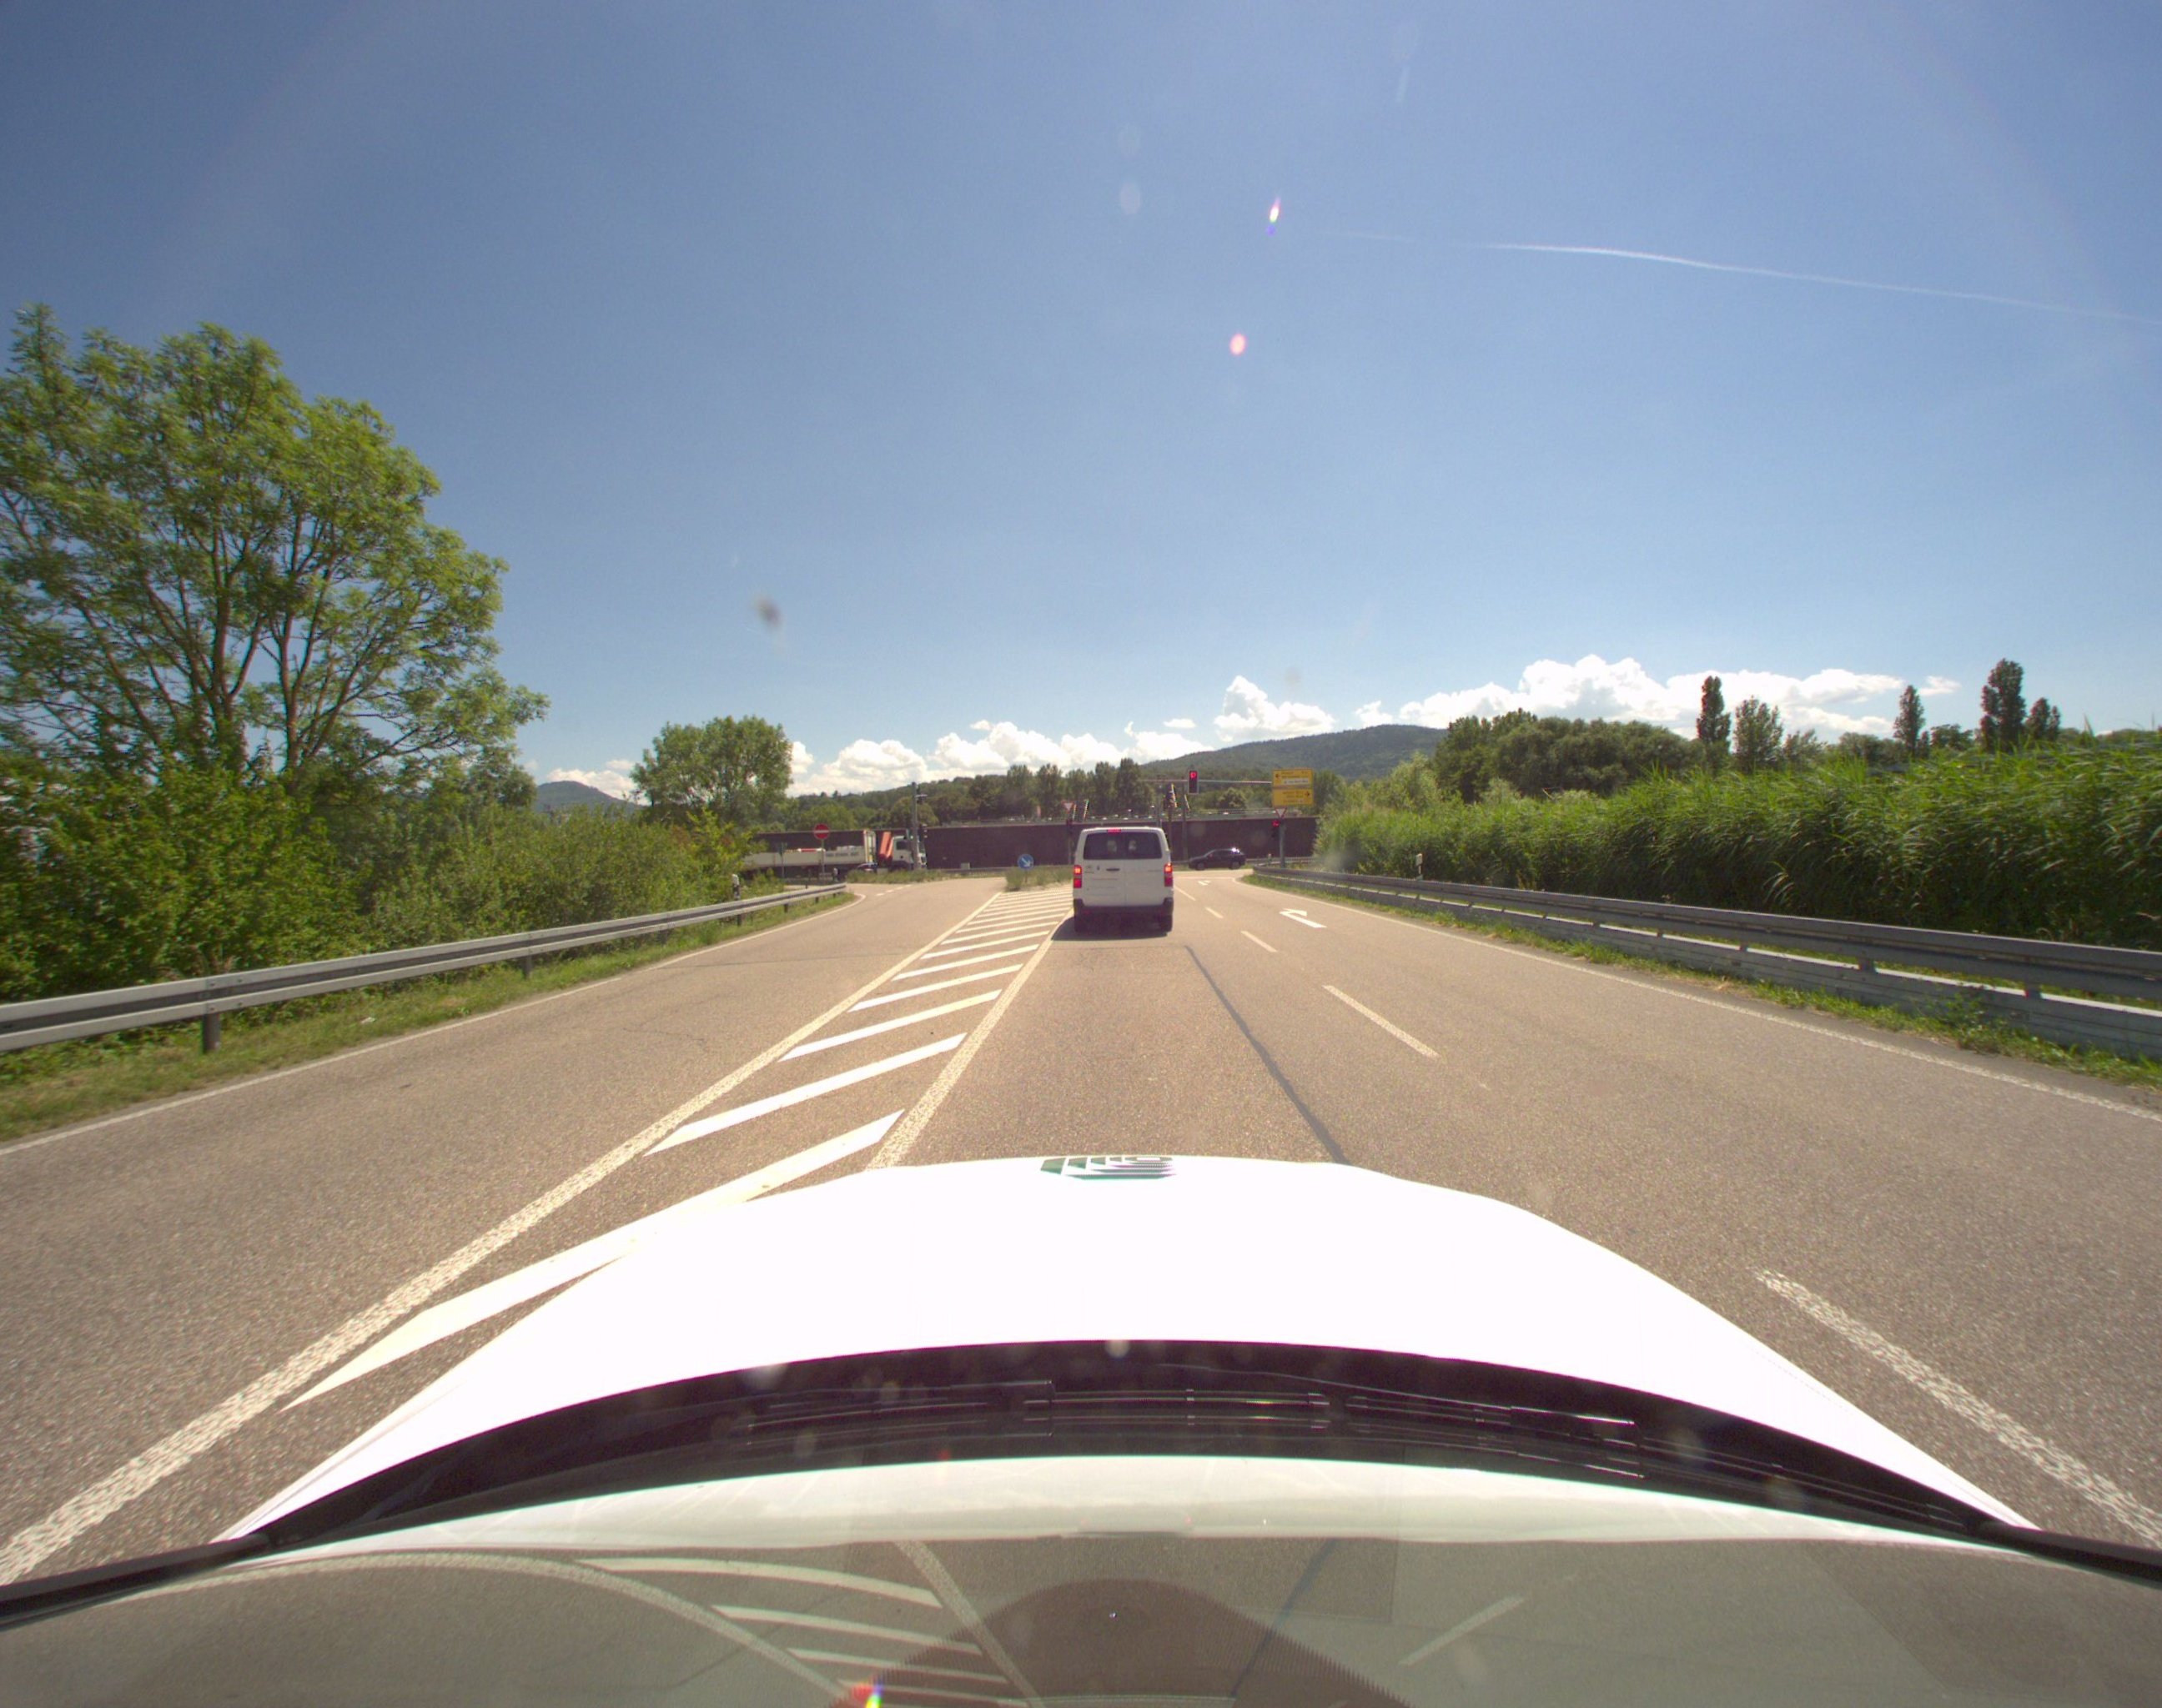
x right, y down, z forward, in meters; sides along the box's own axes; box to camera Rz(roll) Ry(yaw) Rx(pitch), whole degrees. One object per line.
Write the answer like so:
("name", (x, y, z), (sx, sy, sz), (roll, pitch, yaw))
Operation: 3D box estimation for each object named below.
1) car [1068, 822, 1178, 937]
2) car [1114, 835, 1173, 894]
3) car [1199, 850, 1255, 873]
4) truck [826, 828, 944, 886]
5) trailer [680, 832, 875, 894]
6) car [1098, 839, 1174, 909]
("car", (0.813, 0.445, 16.075), (1.863, 1.964, 4.002), (-1, 0, 2))
("car", (2.324, 0.368, 31.135), (1.985, 2.013, 4.003), (-3, 0, 3))
("car", (11.303, 0.571, 63.251), (4.076, 1.474, 1.953), (-4, 1, 6))
("truck", (-13.387, 0.163, 56.013), (7.380, 3.504, 2.233), (-3, 1, 0))
("trailer", (-20.701, 0.588, 55.942), (12.284, 3.504, 2.232), (-3, 1, -1))
("car", (1.598, 0.553, 24.158), (1.985, 1.812, 4.003), (-3, 0, 3))
